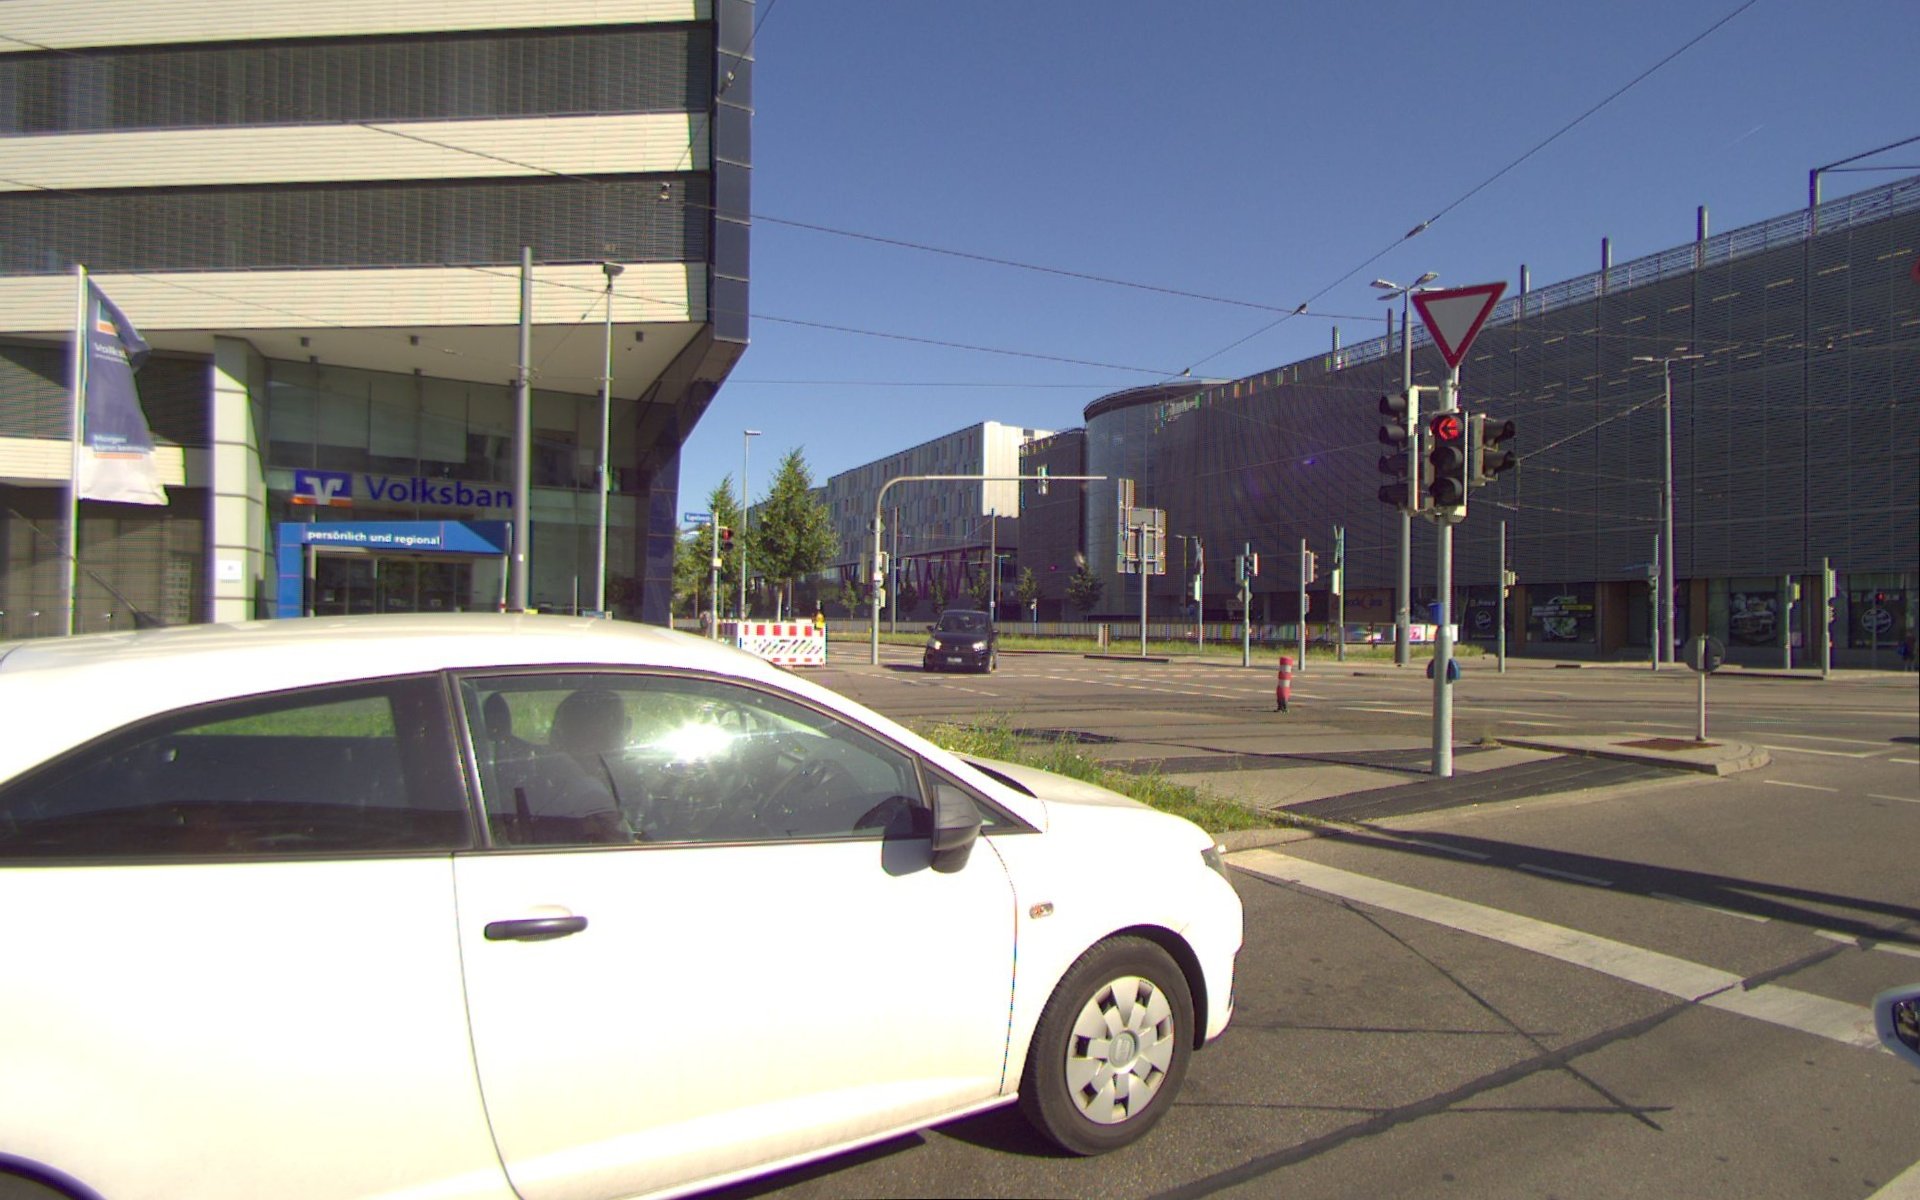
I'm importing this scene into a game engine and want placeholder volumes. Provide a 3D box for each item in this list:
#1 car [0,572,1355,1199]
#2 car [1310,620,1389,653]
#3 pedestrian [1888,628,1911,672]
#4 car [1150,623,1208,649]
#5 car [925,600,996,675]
[{"bbox_3d":[-0.958,0.737,2.788,3.977,1.460,1.723,2,1,-31],"label":"car"},{"bbox_3d":[23.702,2.195,61.309,1.819,1.887,4.306,2,-1,-30],"label":"car"},{"bbox_3d":[39.966,2.121,42.729,0.687,1.821,0.726,-2,-3,44],"label":"pedestrian"},{"bbox_3d":[16.335,2.668,75.132,1.819,1.605,4.268,2,2,-30],"label":"car"},{"bbox_3d":[0.079,0.921,25.086,1.549,1.729,3.554,0,-1,3],"label":"car"}]
